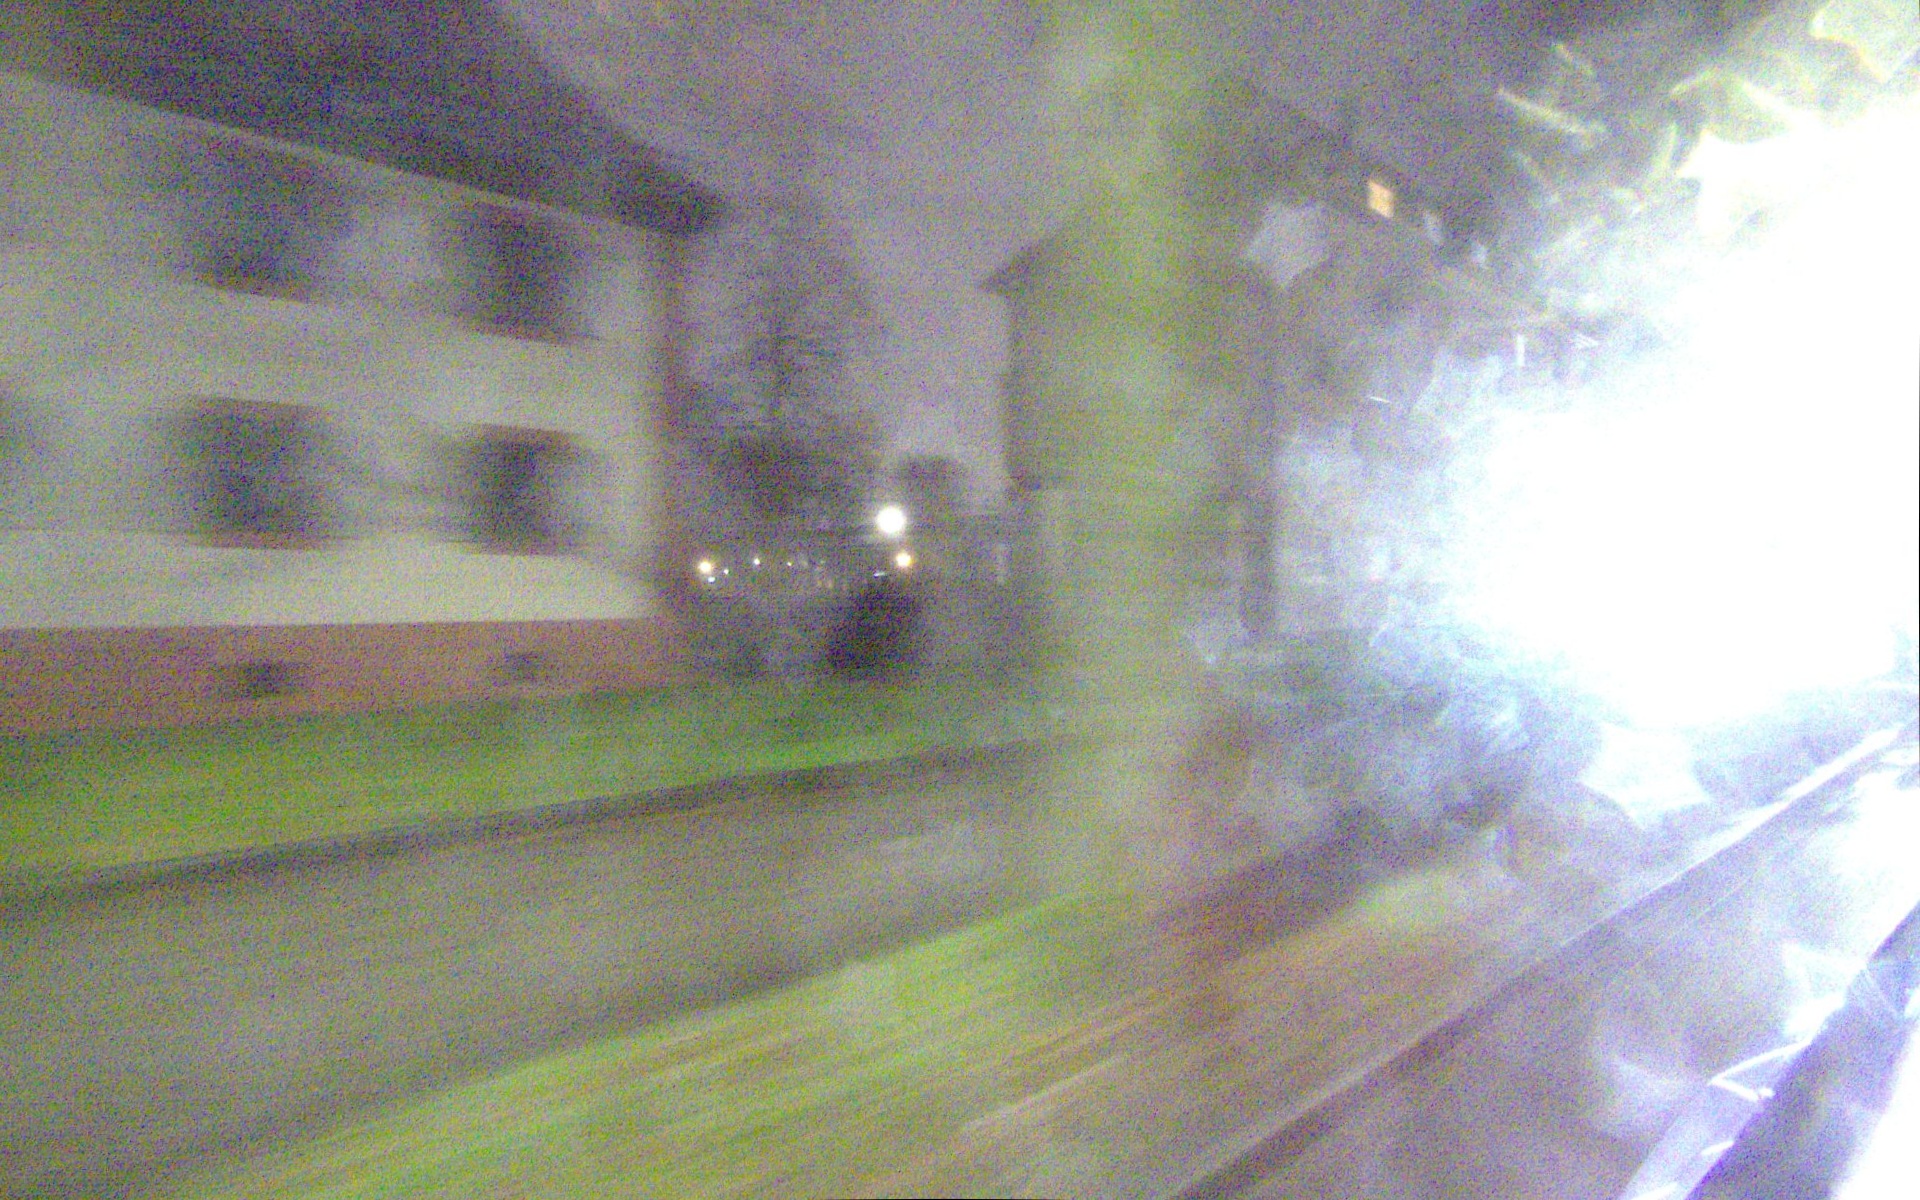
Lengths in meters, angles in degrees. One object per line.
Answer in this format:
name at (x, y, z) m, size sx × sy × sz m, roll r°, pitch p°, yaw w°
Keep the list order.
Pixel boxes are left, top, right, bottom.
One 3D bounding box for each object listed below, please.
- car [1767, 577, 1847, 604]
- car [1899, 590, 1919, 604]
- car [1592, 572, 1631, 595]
car at (57.495, -0.675, 68.753) m, size 1.961 × 1.807 × 4.003 m, roll -1°, pitch 1°, yaw -2°
car at (99.430, -0.334, 103.708) m, size 4.131 × 1.484 × 1.988 m, roll -1°, pitch 0°, yaw 19°
car at (59.826, -1.503, 92.900) m, size 3.931 × 2.039 × 1.997 m, roll -2°, pitch 2°, yaw -41°
